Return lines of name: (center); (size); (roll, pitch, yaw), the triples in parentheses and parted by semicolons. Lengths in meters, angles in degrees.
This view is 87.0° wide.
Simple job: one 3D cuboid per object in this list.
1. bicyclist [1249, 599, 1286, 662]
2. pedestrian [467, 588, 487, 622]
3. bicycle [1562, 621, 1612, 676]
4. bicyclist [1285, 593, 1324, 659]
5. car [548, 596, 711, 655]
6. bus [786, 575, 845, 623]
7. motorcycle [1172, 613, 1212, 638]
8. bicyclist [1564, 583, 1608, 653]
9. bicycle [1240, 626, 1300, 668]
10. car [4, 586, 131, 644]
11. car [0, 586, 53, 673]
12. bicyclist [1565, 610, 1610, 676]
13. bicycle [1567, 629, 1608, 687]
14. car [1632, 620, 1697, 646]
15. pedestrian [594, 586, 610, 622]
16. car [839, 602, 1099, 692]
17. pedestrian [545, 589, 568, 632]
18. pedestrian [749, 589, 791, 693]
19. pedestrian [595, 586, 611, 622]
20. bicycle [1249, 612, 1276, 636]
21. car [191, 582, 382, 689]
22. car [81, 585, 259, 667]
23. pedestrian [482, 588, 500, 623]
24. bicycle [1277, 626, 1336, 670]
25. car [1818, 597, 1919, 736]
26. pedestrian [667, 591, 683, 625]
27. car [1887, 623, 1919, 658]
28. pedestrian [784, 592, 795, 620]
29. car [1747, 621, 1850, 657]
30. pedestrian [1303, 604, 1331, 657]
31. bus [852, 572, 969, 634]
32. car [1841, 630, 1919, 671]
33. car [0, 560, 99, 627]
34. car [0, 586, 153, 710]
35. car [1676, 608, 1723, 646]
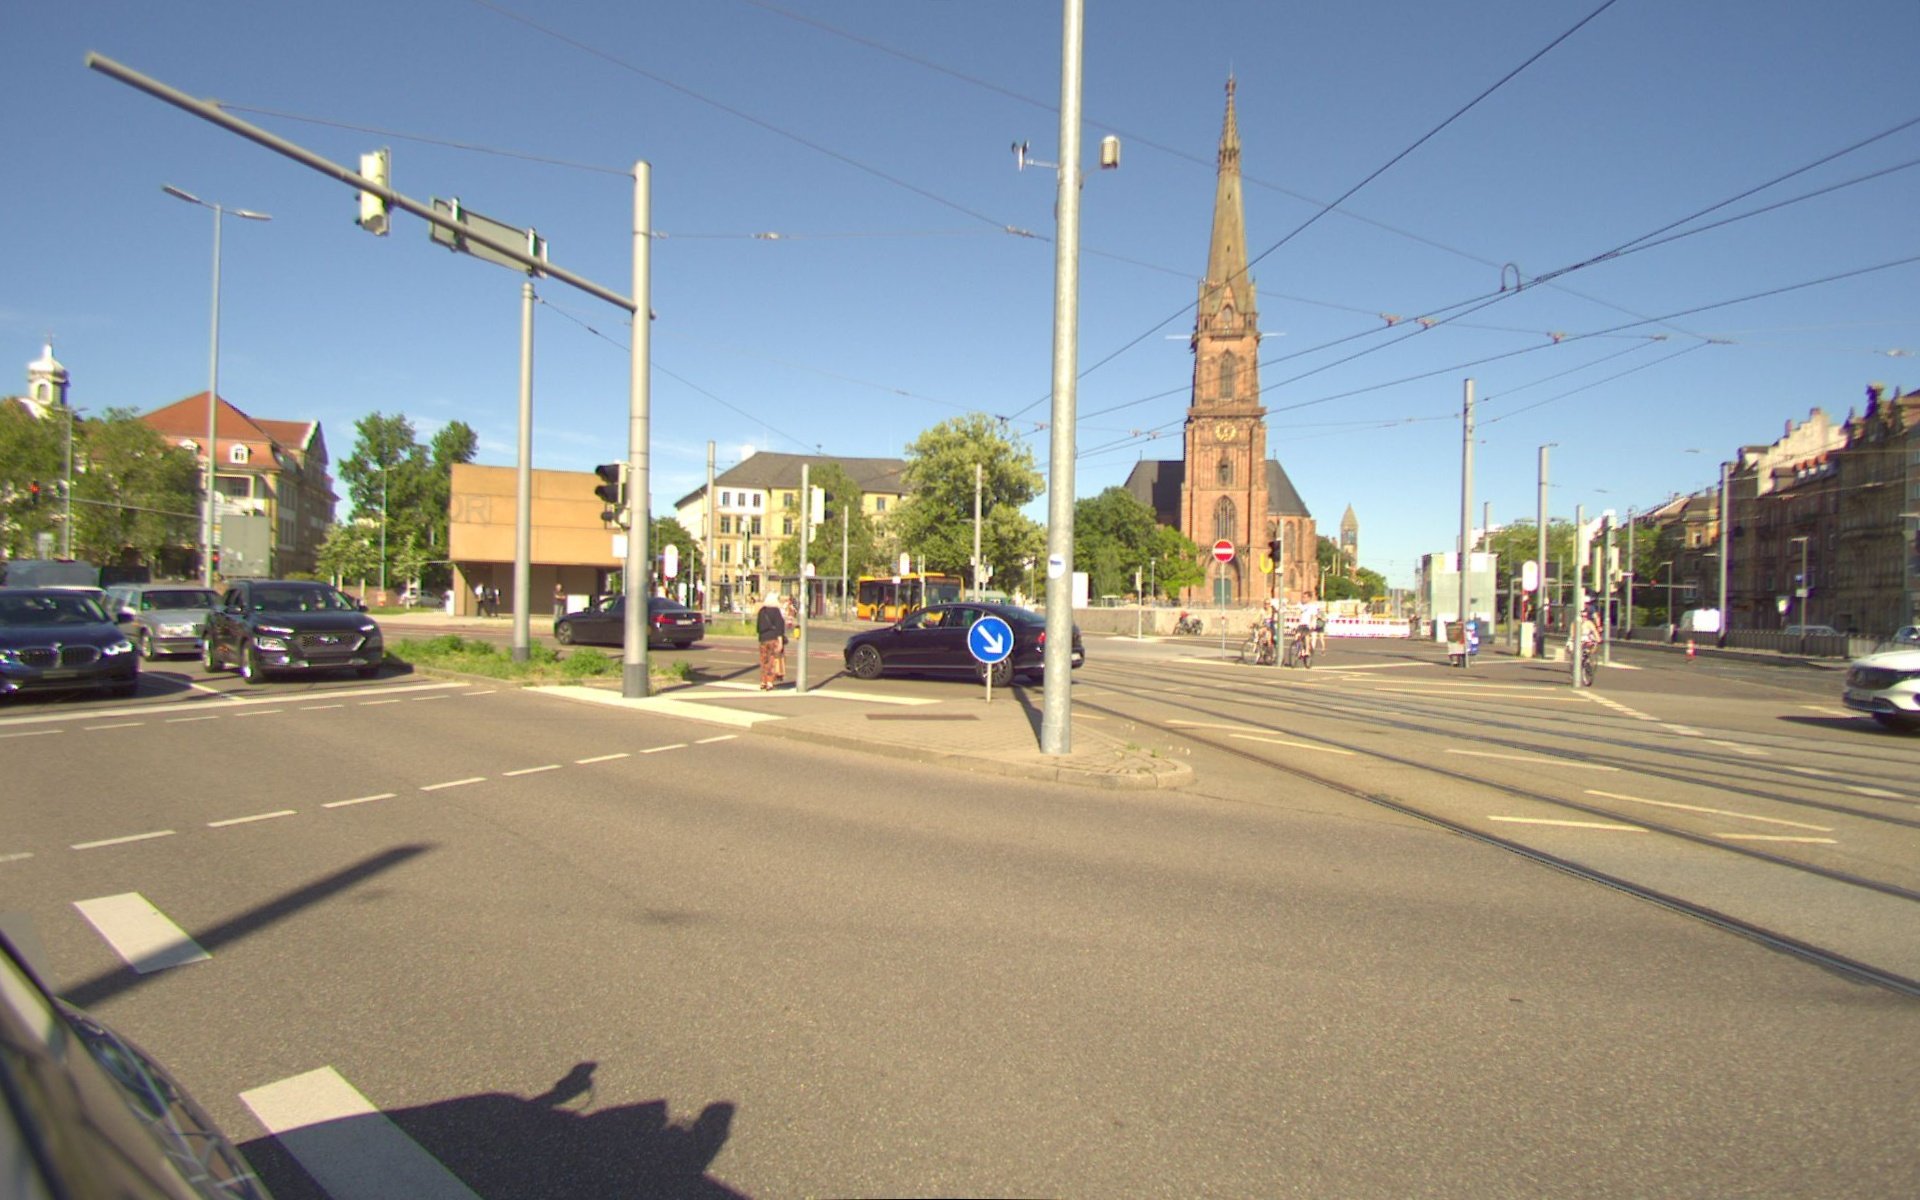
bicyclist: (7.679, 0.746, 25.262); (0.576, 1.540, 0.944); (1, 1, 38)
pedestrian: (-24.272, 0.244, 50.910); (0.738, 1.725, 0.703); (0, 1, -9)
bicycle: (15.429, 1.172, 24.952); (0.611, 1.266, 1.951); (1, -1, 19)
bicyclist: (8.432, 0.621, 24.753); (0.595, 1.561, 0.983); (1, 0, 39)
car: (-9.160, 0.637, 27.907); (4.634, 1.469, 1.865); (1, 0, 35)
bus: (-9.931, -0.074, 68.955); (2.104, 3.069, 8.586); (0, 0, -21)
motorcycle: (11.990, 1.303, 52.310); (2.070, 1.263, 0.536); (0, 1, -23)
bicyclist: (15.487, 0.446, 25.054); (0.754, 1.688, 0.790); (1, -1, 19)
bicycle: (7.825, 1.163, 25.458); (0.615, 0.997, 2.445); (1, -1, 38)
car: (-24.591, 0.358, 27.837); (4.655, 1.469, 1.802); (1, 1, 38)
car: (-17.870, 0.482, 18.255); (4.009, 1.469, 1.692); (1, 1, 40)
bicyclist: (13.101, 0.874, 21.150); (0.757, 1.332, 0.787); (1, -1, 29)
bicycle: (13.087, 1.184, 21.122); (0.613, 1.113, 1.708); (1, -1, 29)
car: (40.511, 1.873, 58.293); (1.897, 1.371, 3.979); (0, -1, 16)
pedestrian: (-21.104, 0.248, 59.647); (0.844, 2.091, 0.612); (0, 1, -15)
car: (0.107, 0.768, 18.379); (4.467, 1.427, 1.831); (0, 0, 33)
pedestrian: (-17.438, 0.427, 43.752); (0.844, 1.843, 0.704); (0, 1, -15)
pedestrian: (-2.967, 0.621, 15.787); (0.367, 1.567, 0.645); (-1, 1, -41)
pedestrian: (-21.378, 0.235, 60.591); (0.844, 2.091, 0.612); (0, 1, -15)
bicycle: (16.239, 1.274, 54.314); (1.476, 1.279, 0.366); (0, 1, -18)
car: (-11.041, 0.481, 16.493); (3.914, 1.543, 1.664); (1, 1, 42)
car: (-16.110, 0.444, 20.551); (4.655, 1.469, 1.802); (1, 1, 38)
pedestrian: (-23.368, 0.252, 50.441); (0.634, 1.725, 0.703); (0, 1, -9)
bicycle: (8.546, 1.153, 24.885); (0.615, 0.997, 2.445); (1, -1, 38)
car: (13.801, 0.839, 12.431); (4.522, 1.653, 1.994); (1, -1, 15)
pedestrian: (-15.745, 0.430, 55.941); (0.844, 1.895, 0.695); (0, 1, -15)
car: (39.552, 1.655, 40.837); (1.786, 1.338, 4.562); (1, 0, 24)
pedestrian: (-11.632, 0.413, 69.031); (0.679, 1.875, 0.732); (0, 1, -19)
car: (35.381, 1.621, 42.852); (1.897, 1.371, 3.979); (0, -1, 16)
pedestrian: (11.156, 0.932, 31.602); (0.608, 1.620, 0.705); (1, 1, 41)
bus: (-3.242, 0.003, 60.396); (2.801, 3.144, 11.861); (0, 2, -24)
car: (35.320, 1.860, 37.995); (1.783, 1.338, 4.570); (1, 0, 19)
car: (-39.143, -0.283, 43.119); (5.287, 2.701, 2.220); (1, 1, 31)
car: (-12.608, 0.548, 13.747); (4.010, 1.469, 1.862); (1, 1, 41)
car: (65.271, 2.369, 89.458); (1.985, 3.130, 4.890); (0, 1, 19)
